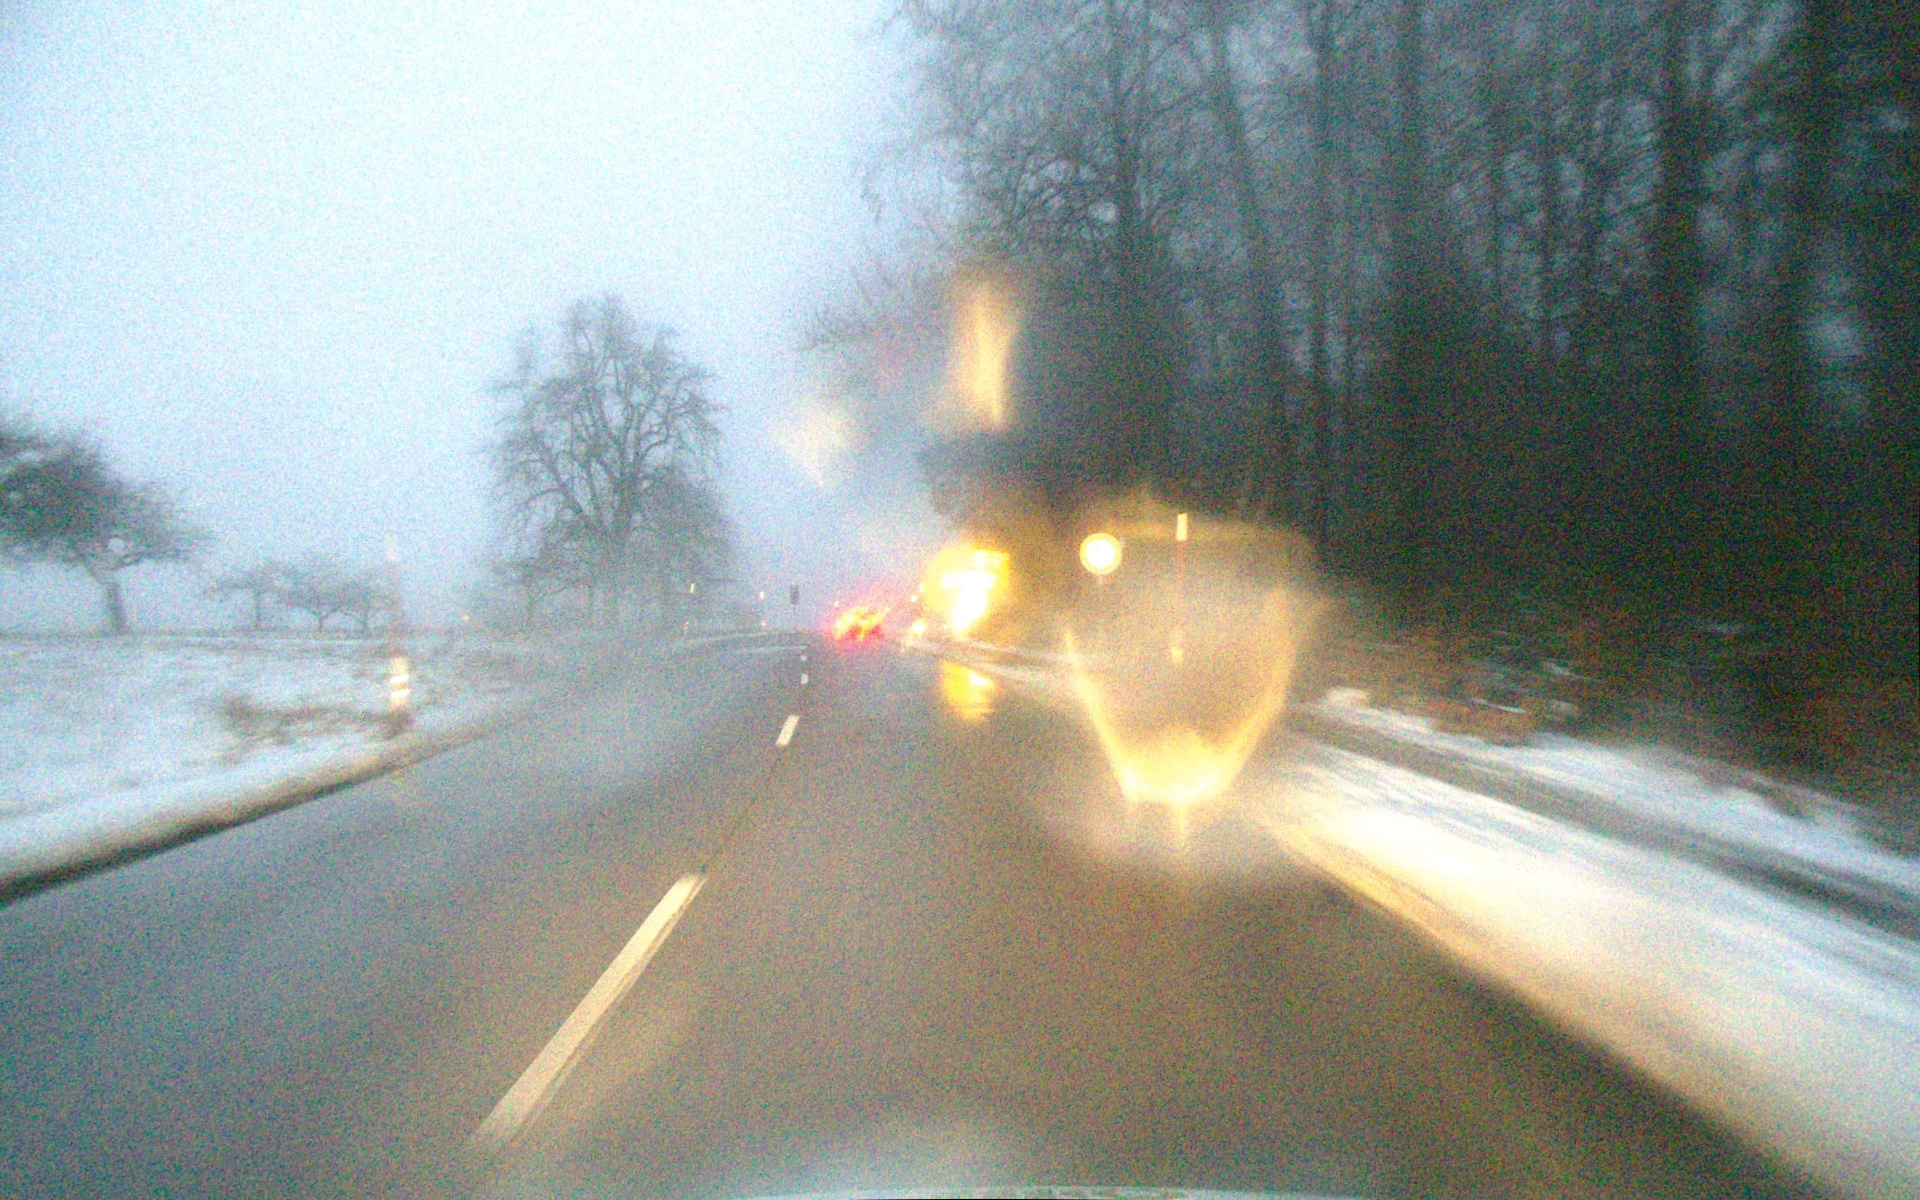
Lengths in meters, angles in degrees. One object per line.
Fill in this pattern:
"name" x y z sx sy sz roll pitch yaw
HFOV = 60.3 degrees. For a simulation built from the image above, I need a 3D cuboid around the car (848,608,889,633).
"car" -5.058 1.115 91.717 1.882 1.299 4.001 -1 0 2
